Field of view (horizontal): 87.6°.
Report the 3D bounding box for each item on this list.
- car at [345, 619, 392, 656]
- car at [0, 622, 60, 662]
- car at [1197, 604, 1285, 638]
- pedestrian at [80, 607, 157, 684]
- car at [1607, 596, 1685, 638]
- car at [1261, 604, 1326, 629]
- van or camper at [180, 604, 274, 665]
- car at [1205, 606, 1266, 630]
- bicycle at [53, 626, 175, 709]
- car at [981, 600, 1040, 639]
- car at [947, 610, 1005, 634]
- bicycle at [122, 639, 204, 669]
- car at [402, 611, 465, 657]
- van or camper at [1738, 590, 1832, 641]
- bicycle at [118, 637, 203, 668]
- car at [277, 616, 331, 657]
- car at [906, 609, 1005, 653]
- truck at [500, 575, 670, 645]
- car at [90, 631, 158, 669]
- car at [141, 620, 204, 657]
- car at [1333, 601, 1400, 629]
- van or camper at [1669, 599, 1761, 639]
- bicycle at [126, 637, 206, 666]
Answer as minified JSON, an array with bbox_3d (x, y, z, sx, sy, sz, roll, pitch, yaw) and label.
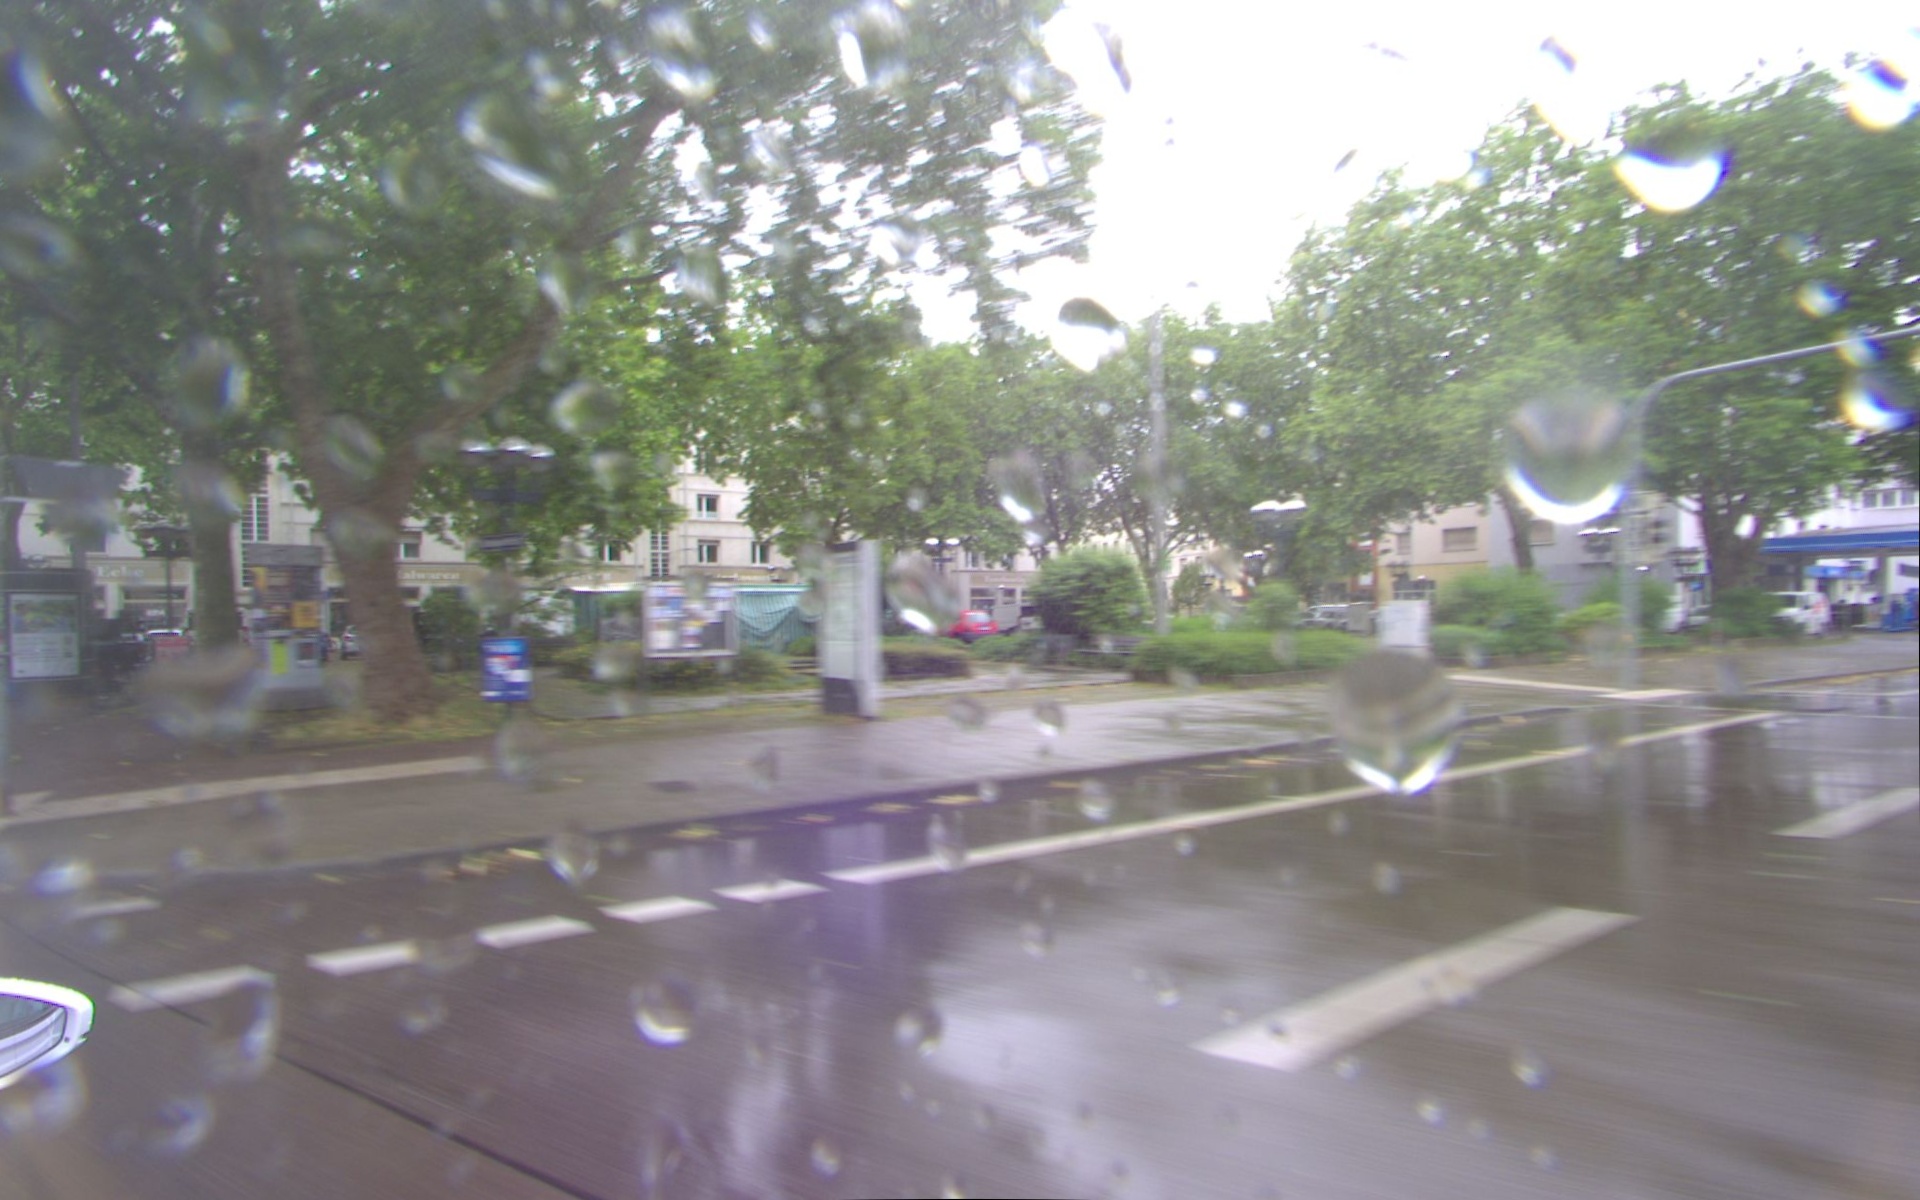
[{"bbox_3d":[-25.590,1.639,43.292,1.661,1.449,3.718,-1,-3,-31],"label":"car"},{"bbox_3d":[-41.766,1.843,44.499,1.975,1.648,4.601,3,-3,-34],"label":"car"},{"bbox_3d":[14.339,1.066,51.215,1.976,1.639,3.969,-1,-1,-38],"label":"car"},{"bbox_3d":[-16.137,0.856,19.233,0.733,1.416,1.045,-1,1,-17],"label":"pedestrian"},{"bbox_3d":[31.271,0.735,45.581,4.209,1.802,1.725,-1,0,-38],"label":"car"},{"bbox_3d":[20.561,1.008,61.636,3.945,1.471,1.667,-1,0,-32],"label":"car"},{"bbox_3d":[-29.387,1.335,40.320,2.369,2.260,5.403,-1,-1,-29],"label":"van or camper"},{"bbox_3d":[18.141,1.182,65.917,3.945,1.471,1.667,-1,0,-32],"label":"car"},{"bbox_3d":[-16.109,1.242,19.168,0.738,1.395,2.702,-1,0,-17],"label":"bicycle"},{"bbox_3d":[3.076,1.223,61.750,1.533,2.231,4.077,-1,-2,-32],"label":"car"},{"bbox_3d":[1.150,1.636,73.734,1.975,1.648,4.601,3,-3,-34],"label":"car"},{"bbox_3d":[-28.364,1.911,35.691,2.230,0.981,0.531,0,0,-35],"label":"bicycle"},{"bbox_3d":[-23.241,1.519,44.146,2.132,1.861,3.979,-1,-3,-32],"label":"car"},{"bbox_3d":[33.558,0.605,40.690,4.614,1.940,1.985,0,0,-38],"label":"van or camper"},{"bbox_3d":[-28.017,1.836,35.131,2.259,0.996,0.542,0,0,-35],"label":"bicycle"},{"bbox_3d":[-27.272,1.517,41.567,1.664,1.595,3.710,0,-1,-37],"label":"car"},{"bbox_3d":[-0.210,1.135,36.951,1.650,1.541,3.645,-1,-1,-42],"label":"car"},{"bbox_3d":[-15.694,0.421,42.089,6.321,2.734,2.252,0,-1,-37],"label":"truck"},{"bbox_3d":[-31.894,1.922,38.281,1.566,1.353,3.244,-1,-2,-33],"label":"car"},{"bbox_3d":[-37.340,1.834,47.590,1.975,1.648,4.601,3,-3,-34],"label":"car"},{"bbox_3d":[23.303,0.852,57.396,3.846,1.572,1.816,-1,0,-36],"label":"car"},{"bbox_3d":[32.165,0.765,42.610,4.614,1.620,1.985,0,0,-38],"label":"van or camper"},{"bbox_3d":[-28.747,1.852,36.290,2.224,0.981,0.581,0,0,-35],"label":"bicycle"}]
